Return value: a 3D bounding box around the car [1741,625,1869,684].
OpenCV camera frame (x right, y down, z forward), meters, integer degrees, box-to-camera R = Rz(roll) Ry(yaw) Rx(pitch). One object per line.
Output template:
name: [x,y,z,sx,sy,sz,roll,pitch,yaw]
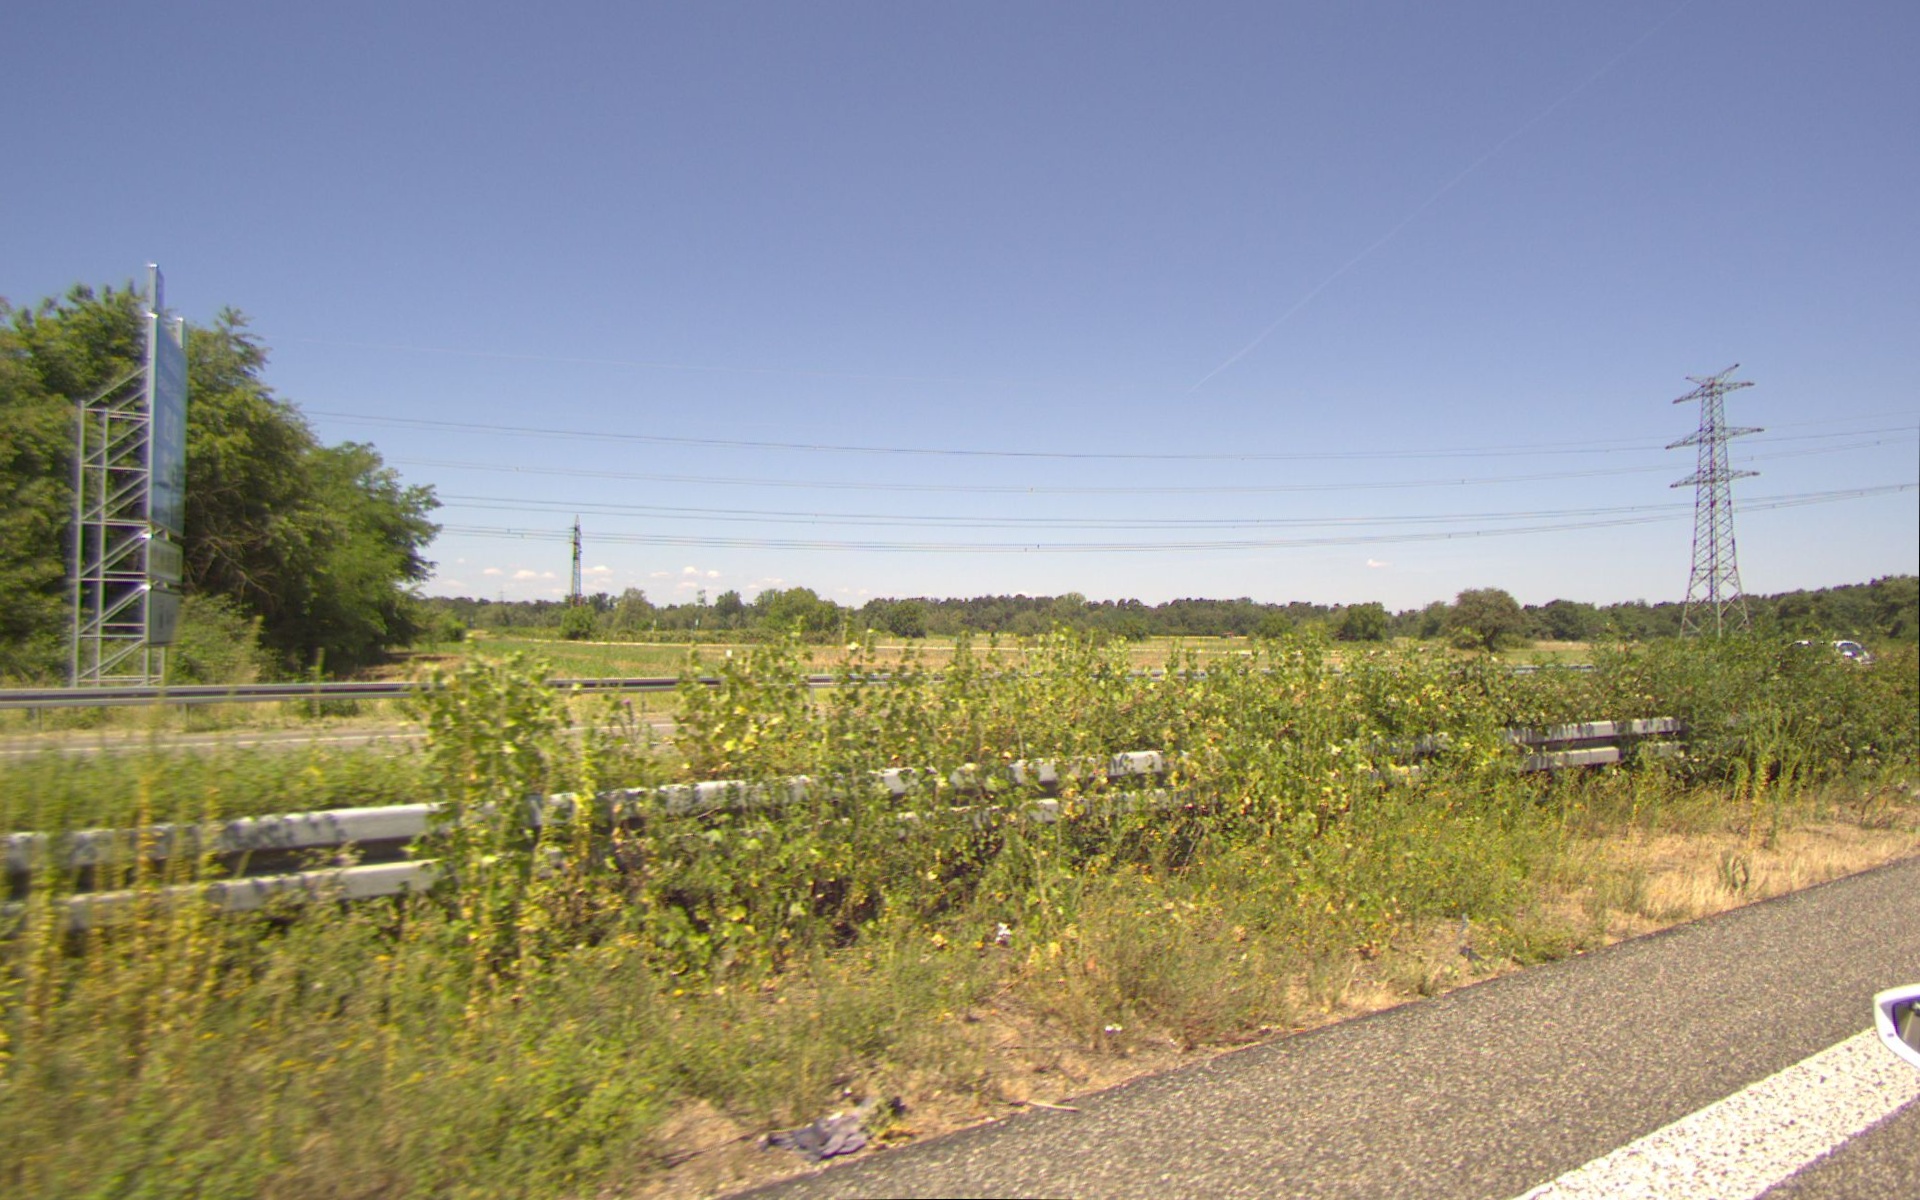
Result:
car: [26.148,1.630,31.048,3.966,1.674,1.832,1,0,-31]
